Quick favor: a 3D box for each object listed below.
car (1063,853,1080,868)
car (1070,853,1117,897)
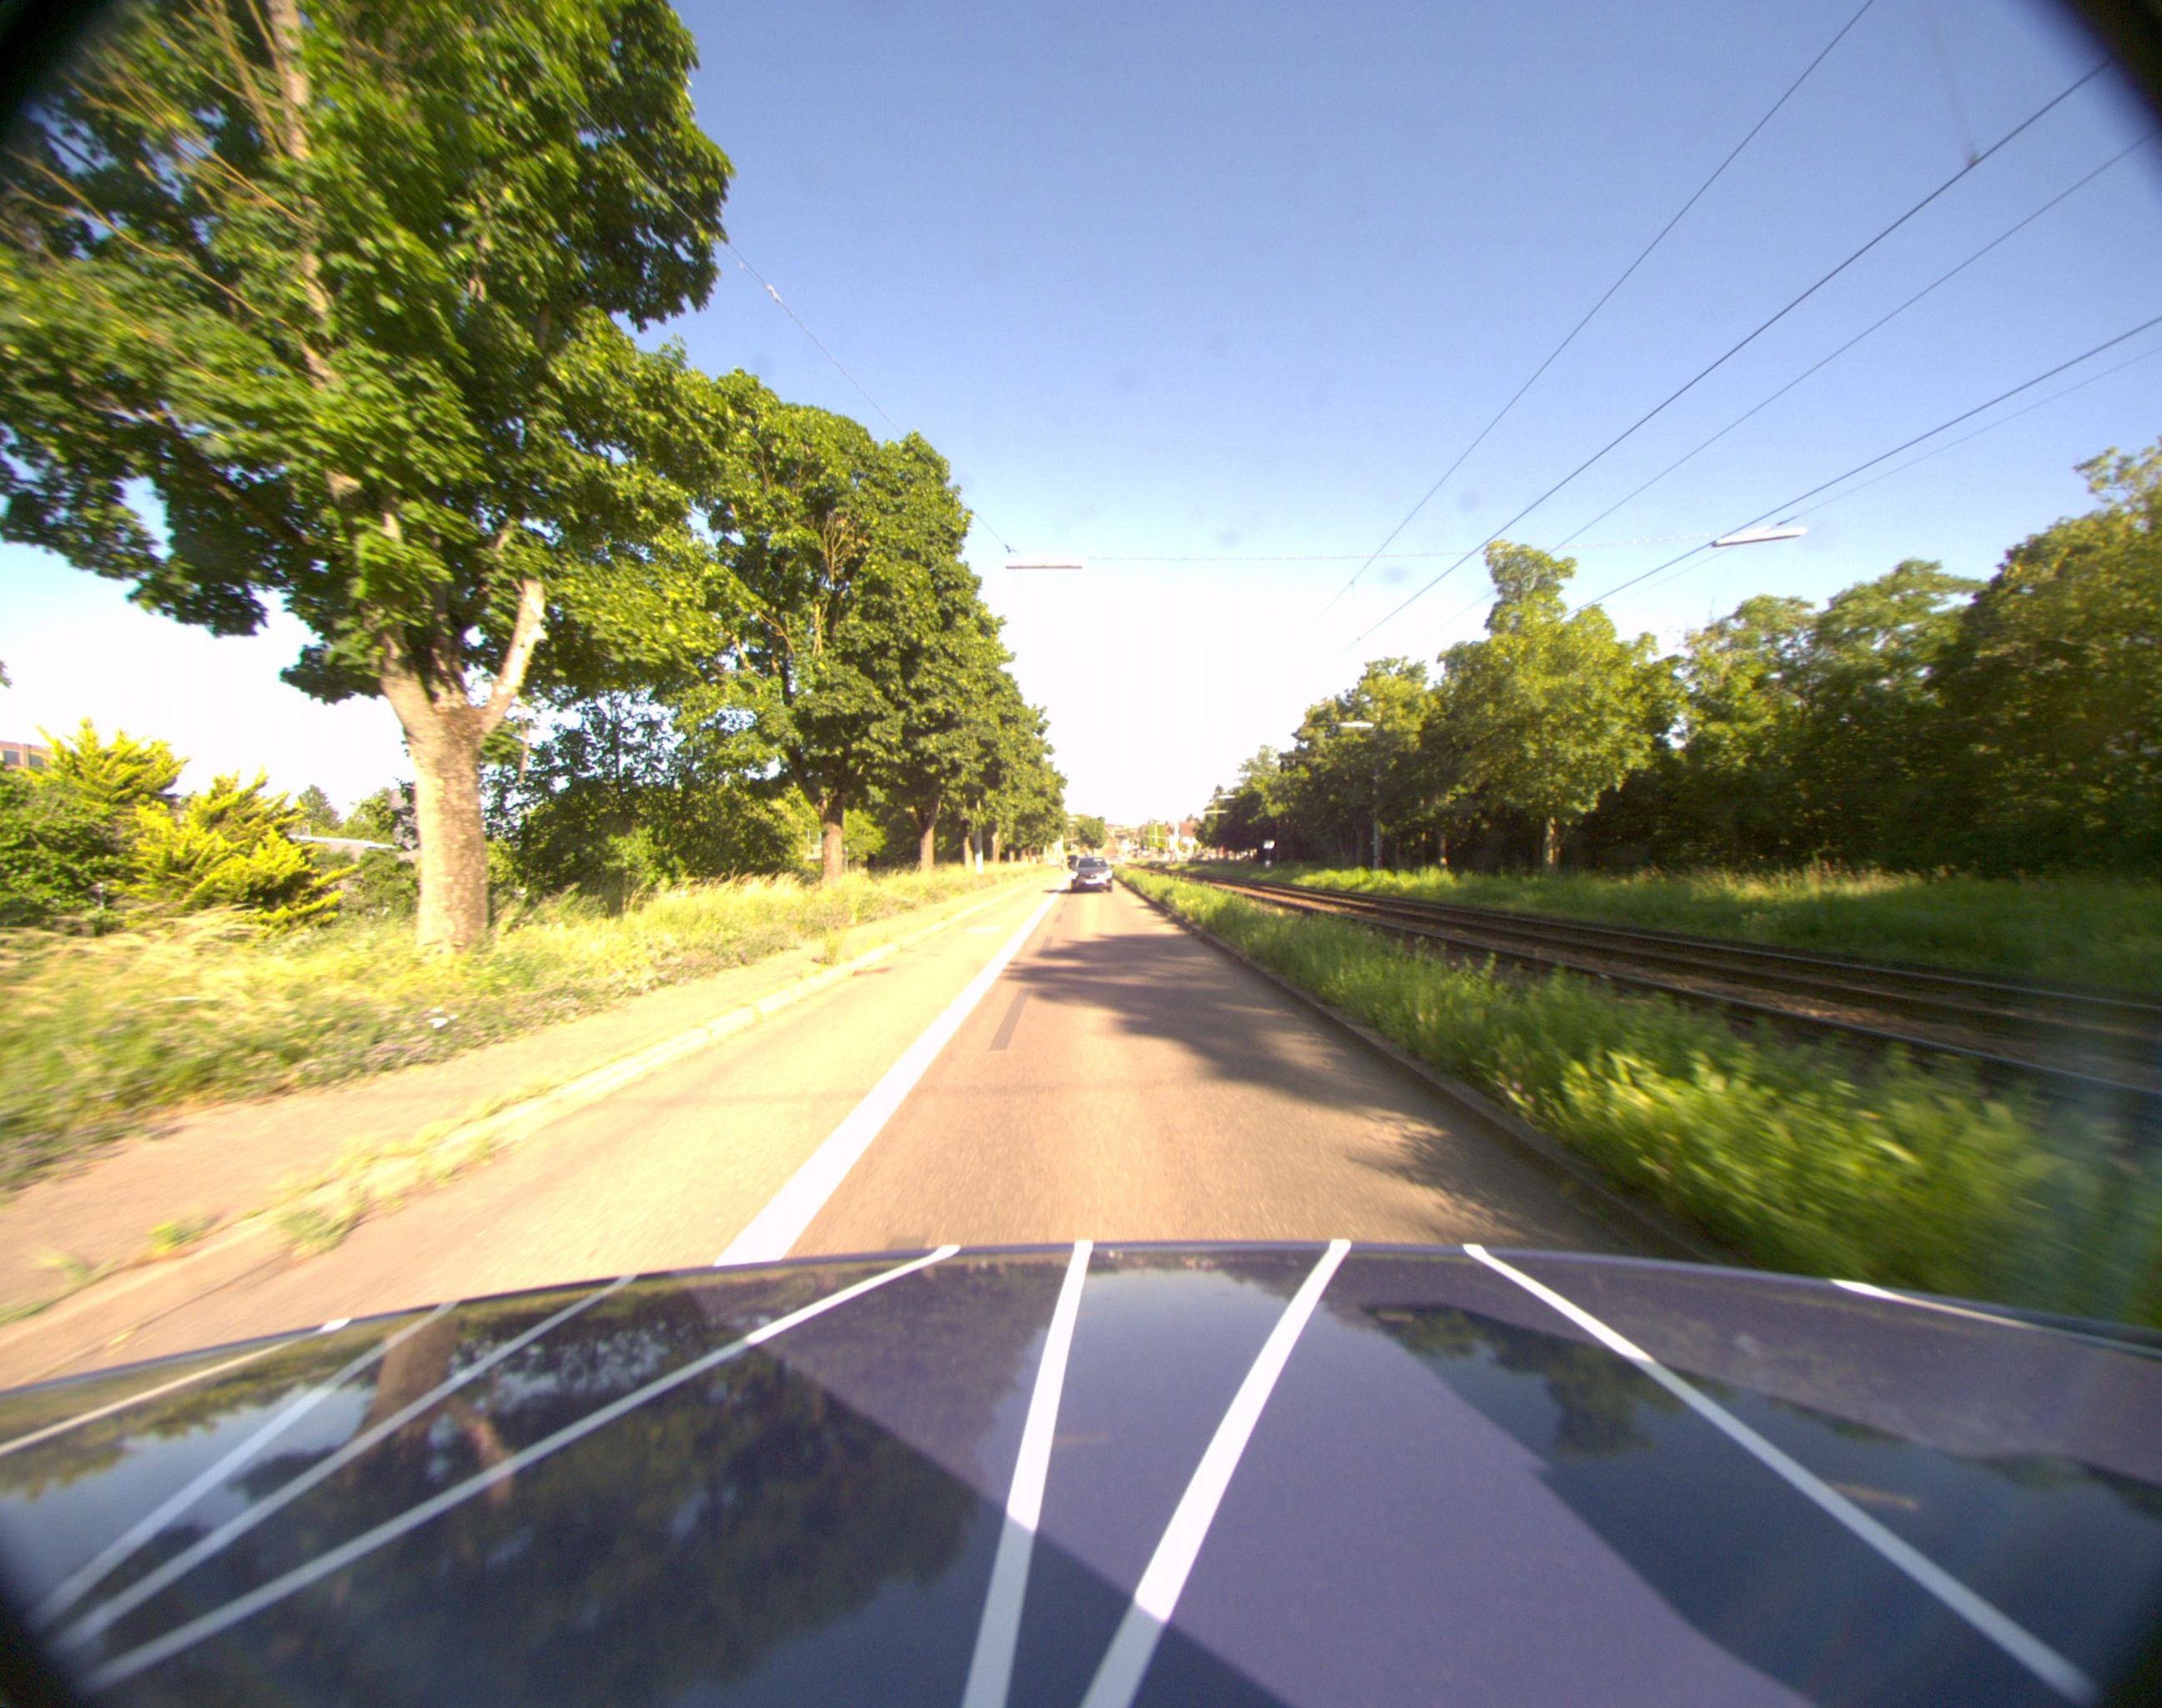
[{"bbox_3d":[-1.147,0.787,90.818,1.814,1.625,4.128,-3,0,1],"label":"car"},{"bbox_3d":[0.546,0.828,32.810,1.814,1.625,4.709,-2,1,1],"label":"car"}]
